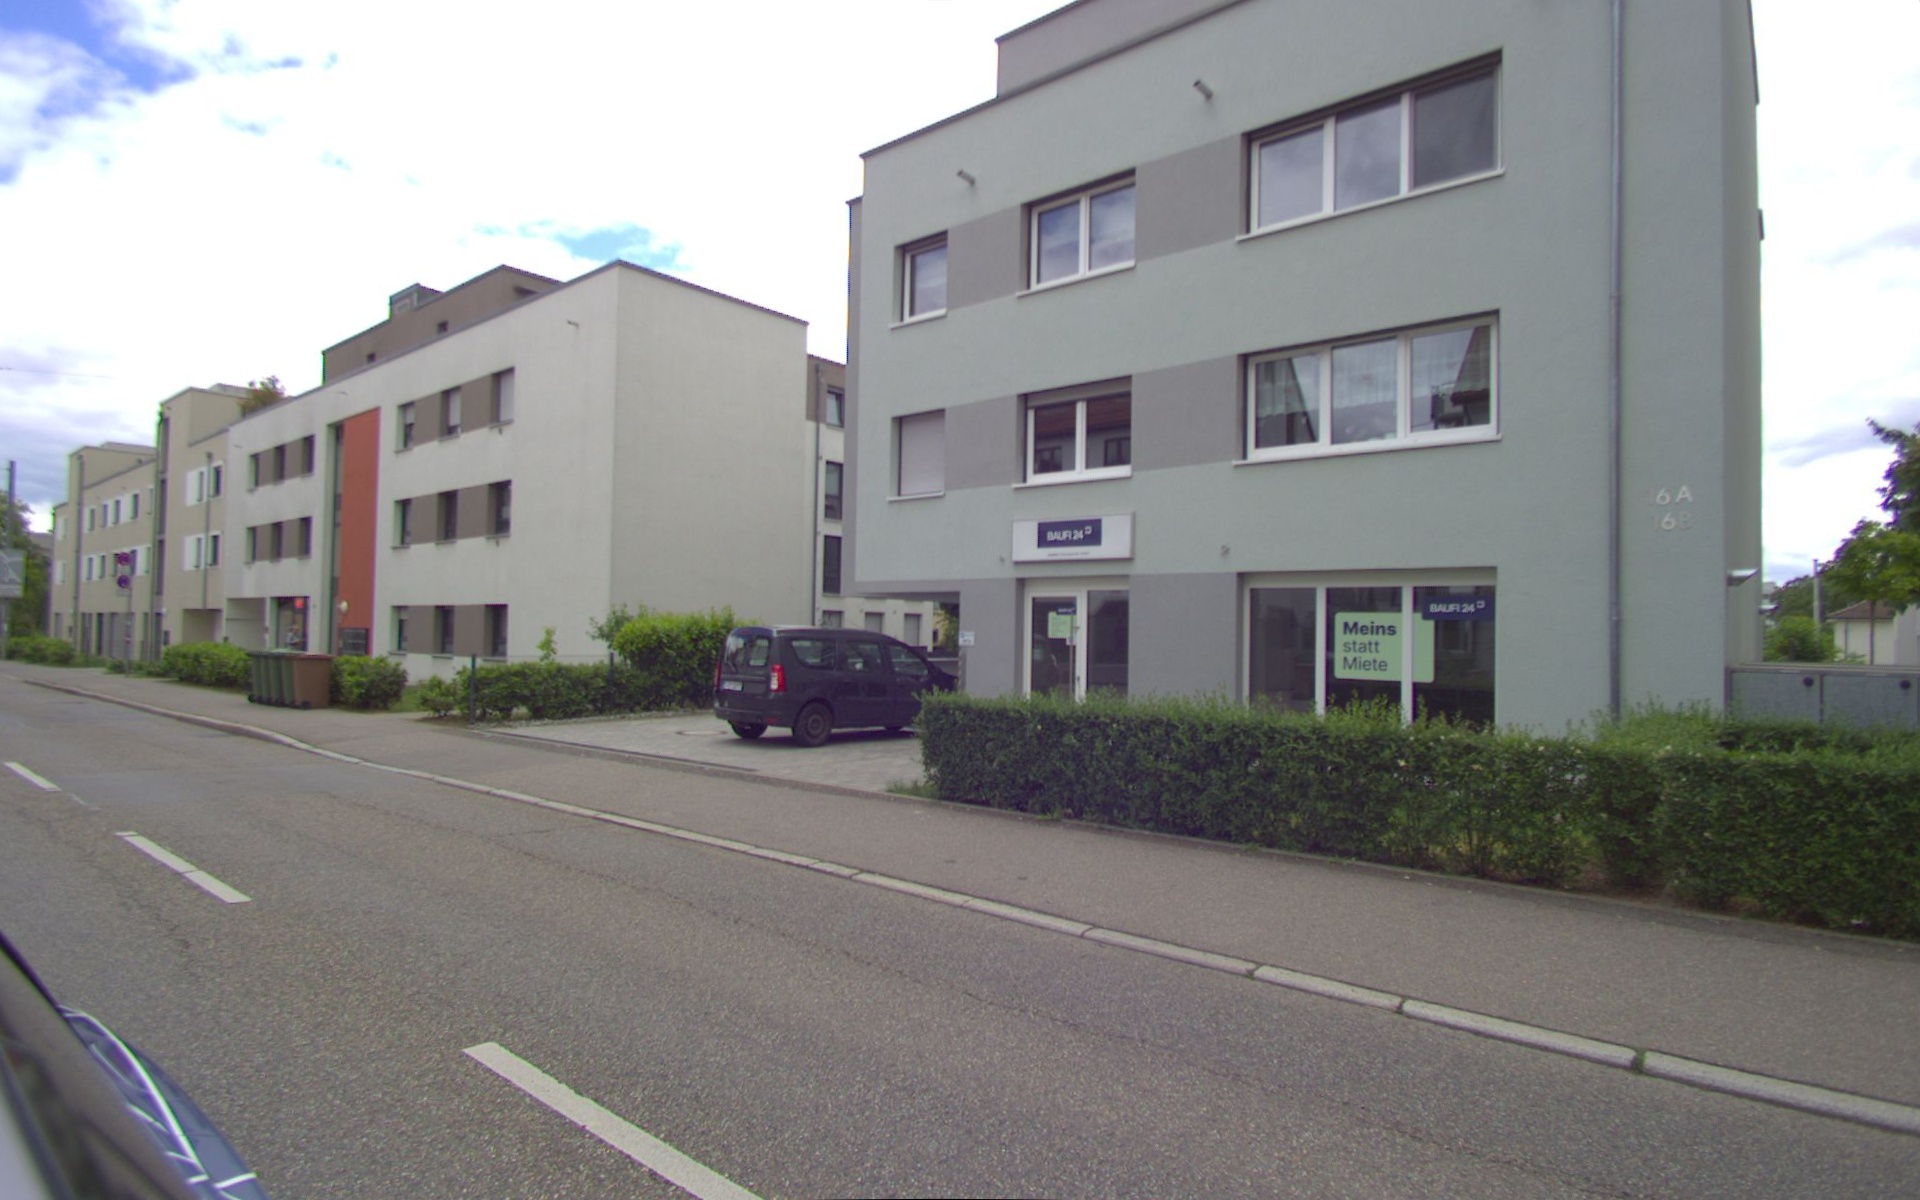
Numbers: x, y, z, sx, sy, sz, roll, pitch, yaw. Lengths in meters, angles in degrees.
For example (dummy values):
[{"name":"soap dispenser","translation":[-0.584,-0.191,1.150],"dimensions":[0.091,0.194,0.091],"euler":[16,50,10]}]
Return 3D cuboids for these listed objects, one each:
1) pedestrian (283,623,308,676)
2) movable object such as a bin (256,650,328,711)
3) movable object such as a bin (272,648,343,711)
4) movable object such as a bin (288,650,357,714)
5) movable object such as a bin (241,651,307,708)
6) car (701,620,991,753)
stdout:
[{"name":"pedestrian","translation":[-20.935,1.561,31.880],"dimensions":[0.511,1.655,0.642],"euler":[1,-2,-24]},{"name":"movable object such as a bin","translation":[-13.295,1.578,20.135],"dimensions":[0.839,1.160,0.947],"euler":[-1,-2,36]},{"name":"movable object such as a bin","translation":[-12.644,1.514,19.615],"dimensions":[0.748,1.160,0.940],"euler":[-1,-2,36]},{"name":"movable object such as a bin","translation":[-12.077,1.542,19.189],"dimensions":[0.611,1.160,0.932],"euler":[-1,-2,36]},{"name":"movable object such as a bin","translation":[-13.988,1.602,20.645],"dimensions":[0.791,1.097,0.886],"euler":[-1,-2,36]},{"name":"car","translation":[-1.558,1.178,15.000],"dimensions":[1.725,1.680,4.117],"euler":[-1,-2,44]}]
